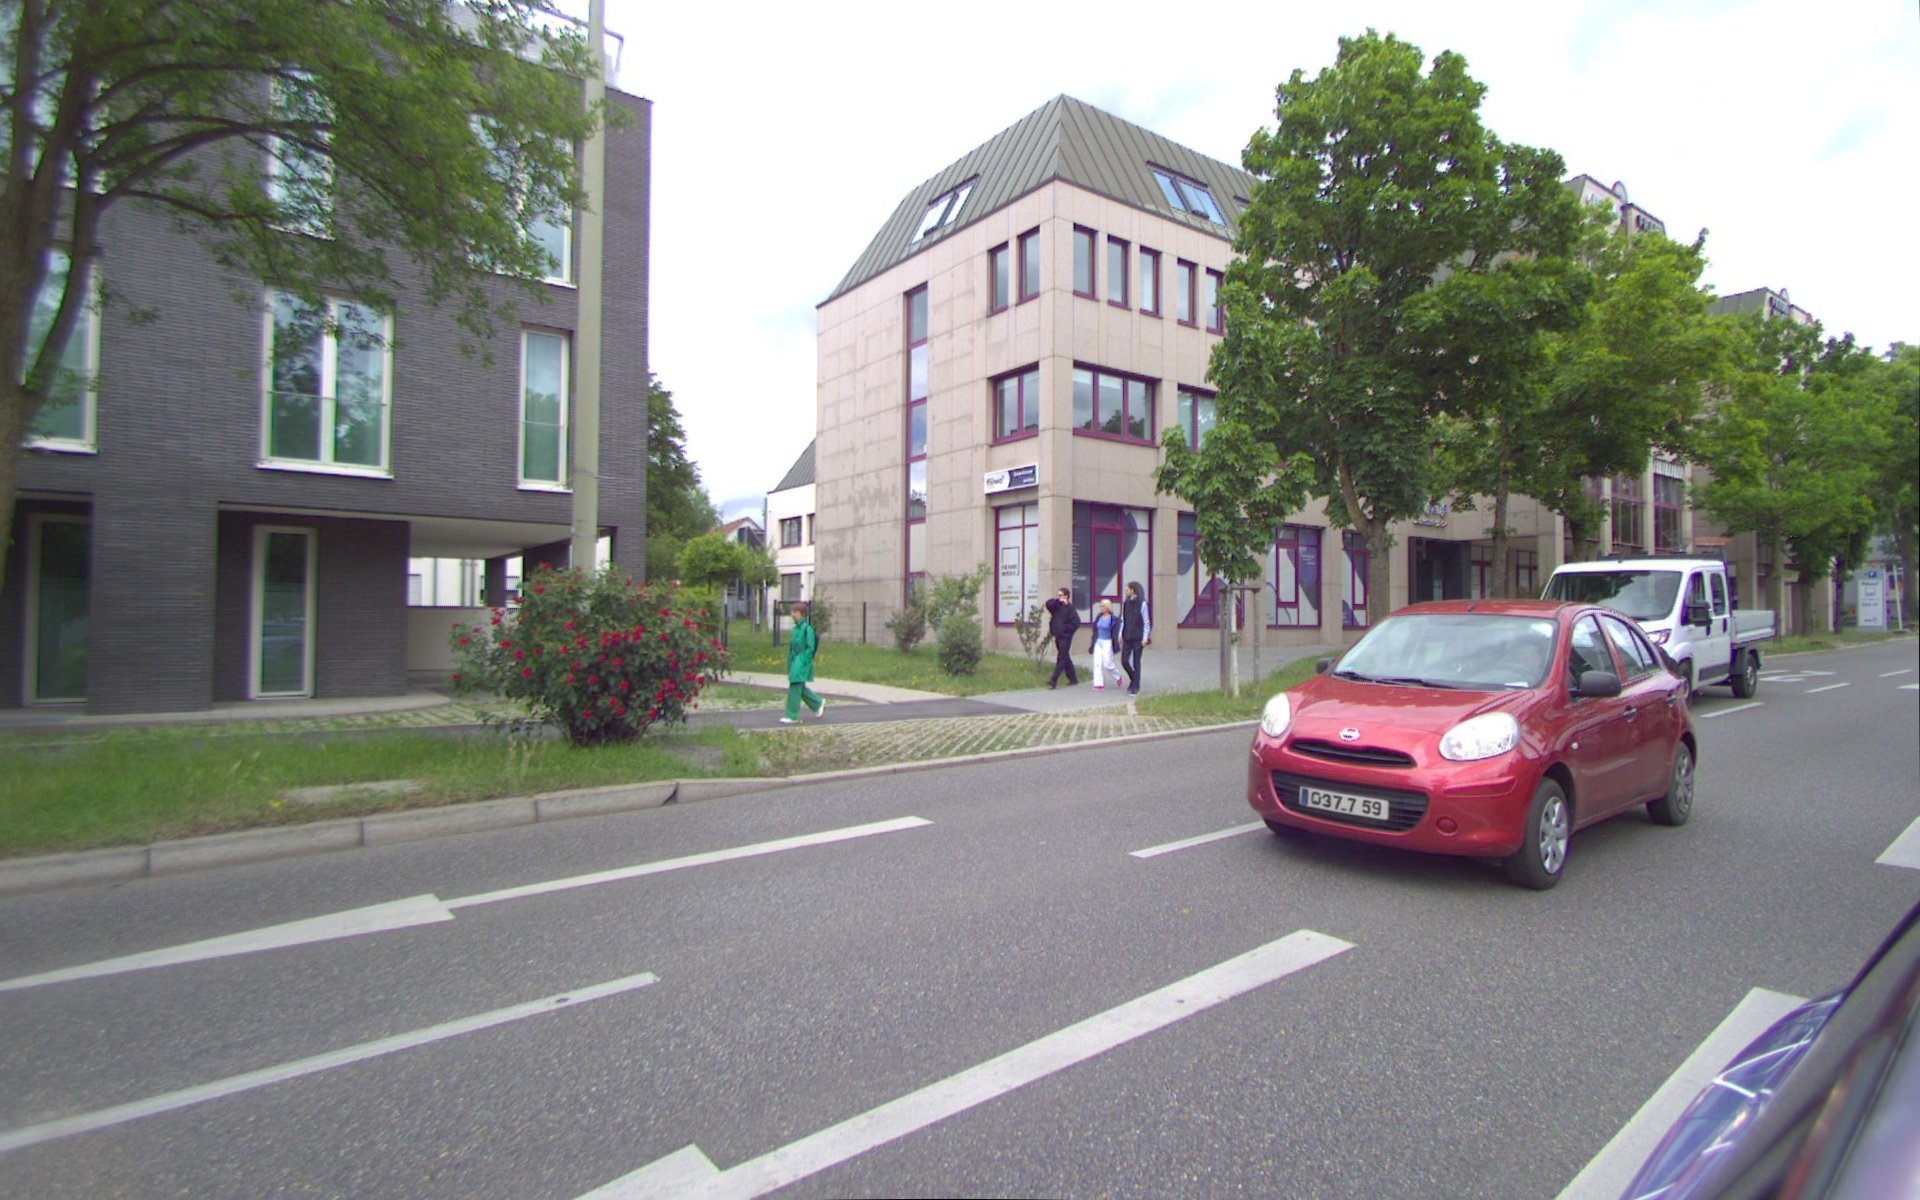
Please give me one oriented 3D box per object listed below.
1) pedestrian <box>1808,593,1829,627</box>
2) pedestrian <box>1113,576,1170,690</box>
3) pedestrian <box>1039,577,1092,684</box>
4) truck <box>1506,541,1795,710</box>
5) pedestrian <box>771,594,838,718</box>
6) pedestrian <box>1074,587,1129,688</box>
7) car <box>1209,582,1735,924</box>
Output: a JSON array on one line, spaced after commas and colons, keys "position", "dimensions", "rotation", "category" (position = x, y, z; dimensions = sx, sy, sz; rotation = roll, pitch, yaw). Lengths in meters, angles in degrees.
[{"position": [45.119, 0.498, 53.187], "dimensions": [0.818, 1.769, 0.718], "rotation": [0, 0, -42], "category": "pedestrian"}, {"position": [2.990, 0.528, 16.696], "dimensions": [0.665, 1.828, 0.642], "rotation": [0, -1, -41], "category": "pedestrian"}, {"position": [1.840, 0.524, 17.711], "dimensions": [0.665, 1.828, 0.642], "rotation": [0, -1, -41], "category": "pedestrian"}, {"position": [11.099, 0.324, 16.083], "dimensions": [5.738, 2.231, 2.216], "rotation": [0, 0, -39], "category": "truck"}, {"position": [-2.017, 0.703, 13.124], "dimensions": [0.665, 1.537, 0.496], "rotation": [0, 2, -41], "category": "pedestrian"}, {"position": [2.406, 0.623, 17.209], "dimensions": [0.665, 1.668, 0.642], "rotation": [0, -1, -41], "category": "pedestrian"}, {"position": [3.477, 0.695, 6.587], "dimensions": [3.790, 1.577, 1.719], "rotation": [0, 1, -40], "category": "car"}]
